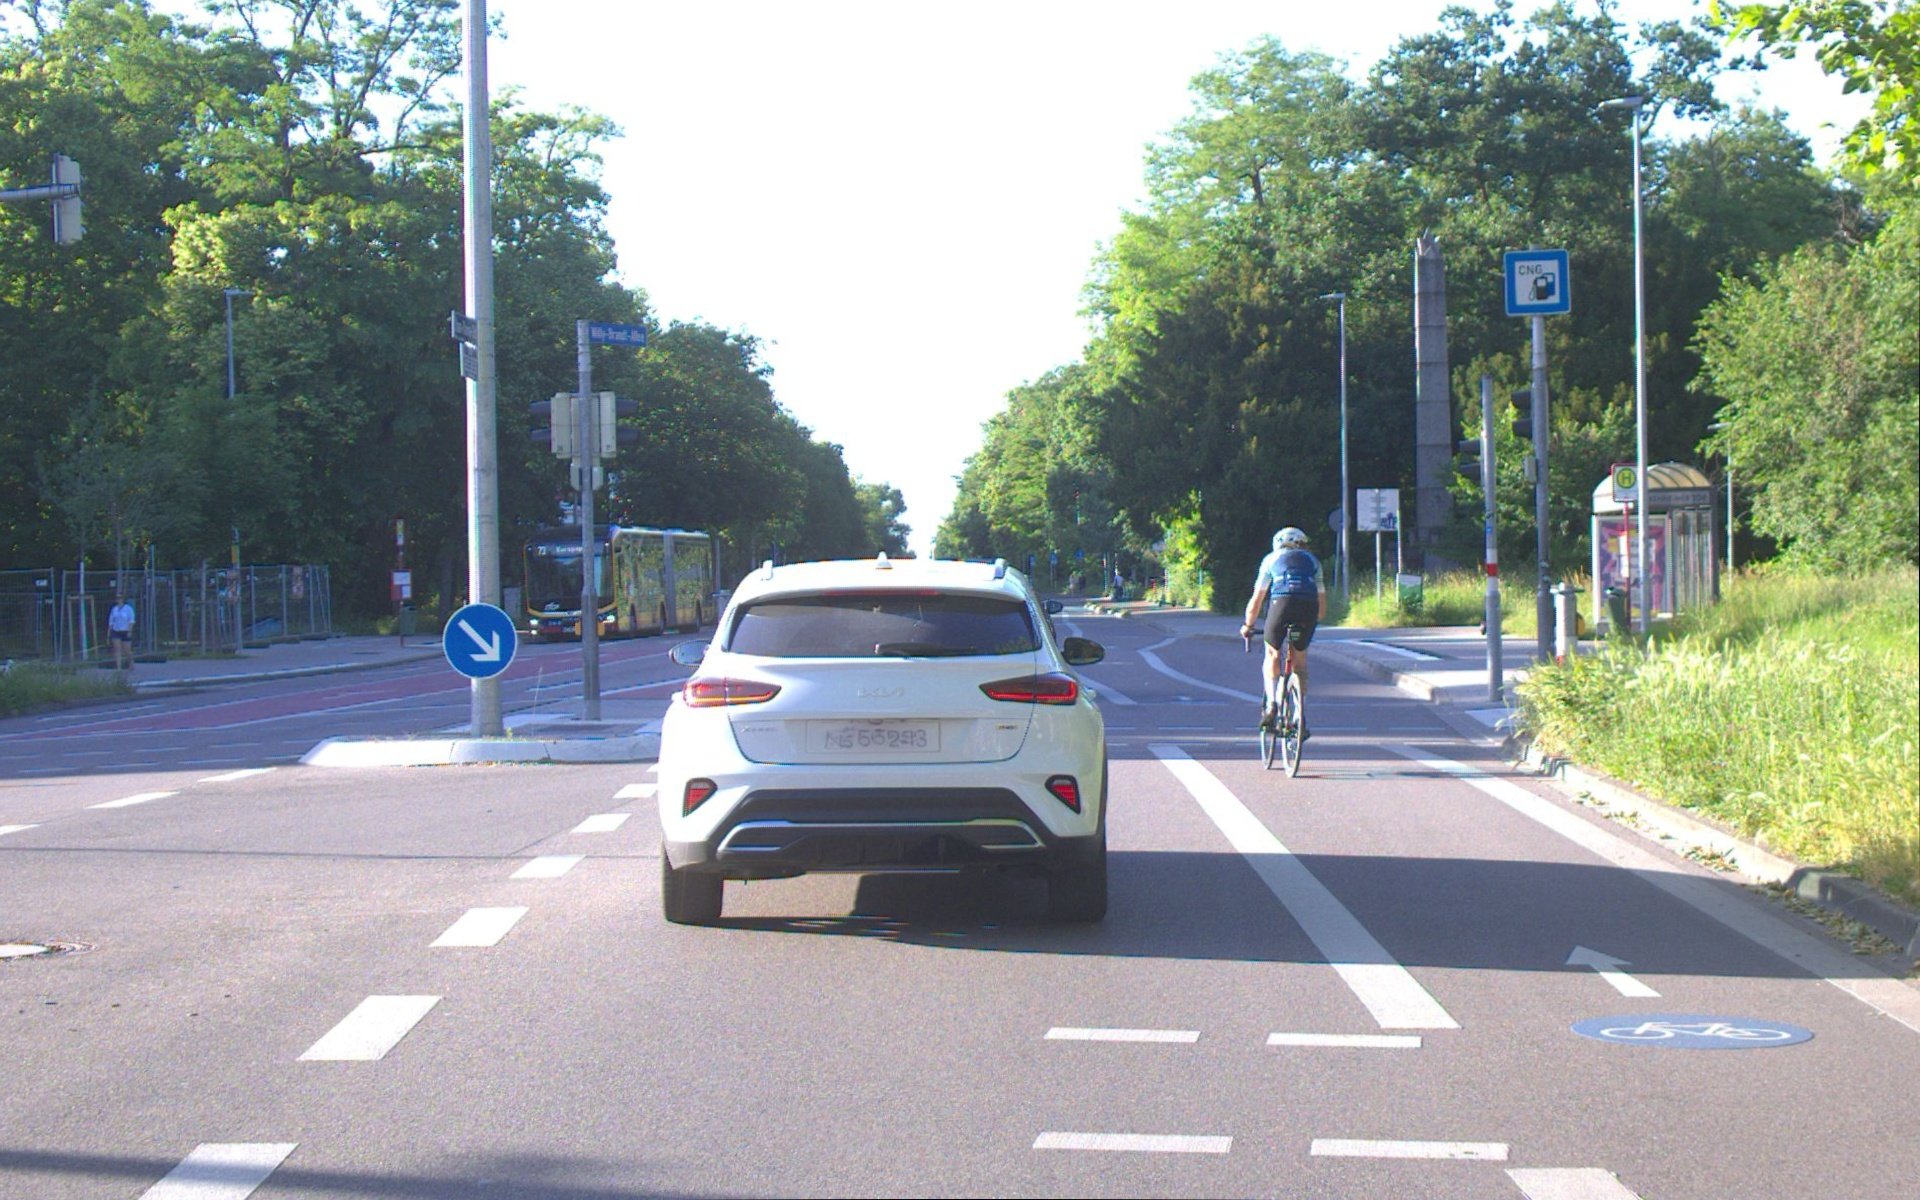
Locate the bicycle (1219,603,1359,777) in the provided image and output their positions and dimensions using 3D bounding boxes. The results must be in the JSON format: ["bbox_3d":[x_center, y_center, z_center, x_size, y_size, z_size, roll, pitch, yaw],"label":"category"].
[{"bbox_3d":[2.222,0.579,23.221,0.891,1.092,2.136,0,1,6],"label":"bicycle"}]

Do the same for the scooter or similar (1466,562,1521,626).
[{"bbox_3d":[10.679,-0.120,68.747,0.722,1.243,1.326,-3,-1,24],"label":"scooter or similar"}]

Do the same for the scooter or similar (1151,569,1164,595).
[{"bbox_3d":[9.772,-0.898,170.496,0.533,1.246,1.541,-1,0,0],"label":"scooter or similar"}]

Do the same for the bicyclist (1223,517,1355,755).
[{"bbox_3d":[2.207,0.228,23.066,0.860,1.562,0.881,0,1,6],"label":"bicyclist"}]

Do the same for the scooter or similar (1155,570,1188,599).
[{"bbox_3d":[9.404,-0.692,152.646,1.537,1.246,0.534,-2,0,-43],"label":"scooter or similar"}]

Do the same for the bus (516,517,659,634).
[{"bbox_3d":[-10.706,-0.717,99.593,2.840,3.186,8.599,-2,0,2],"label":"bus"}]

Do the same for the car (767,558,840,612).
[{"bbox_3d":[-4.472,-0.448,98.873,1.711,1.416,4.554,-1,1,2],"label":"car"}]

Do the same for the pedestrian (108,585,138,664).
[{"bbox_3d":[-16.454,0.480,67.584,0.451,1.528,0.571,-2,0,-3],"label":"pedestrian"}]

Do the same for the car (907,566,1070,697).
[{"bbox_3d":[0.371,0.337,40.112,1.676,1.413,3.573,-2,0,4],"label":"car"}]

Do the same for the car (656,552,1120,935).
[{"bbox_3d":[-0.391,0.541,15.068,1.761,1.454,3.818,1,0,-4],"label":"car"}]
